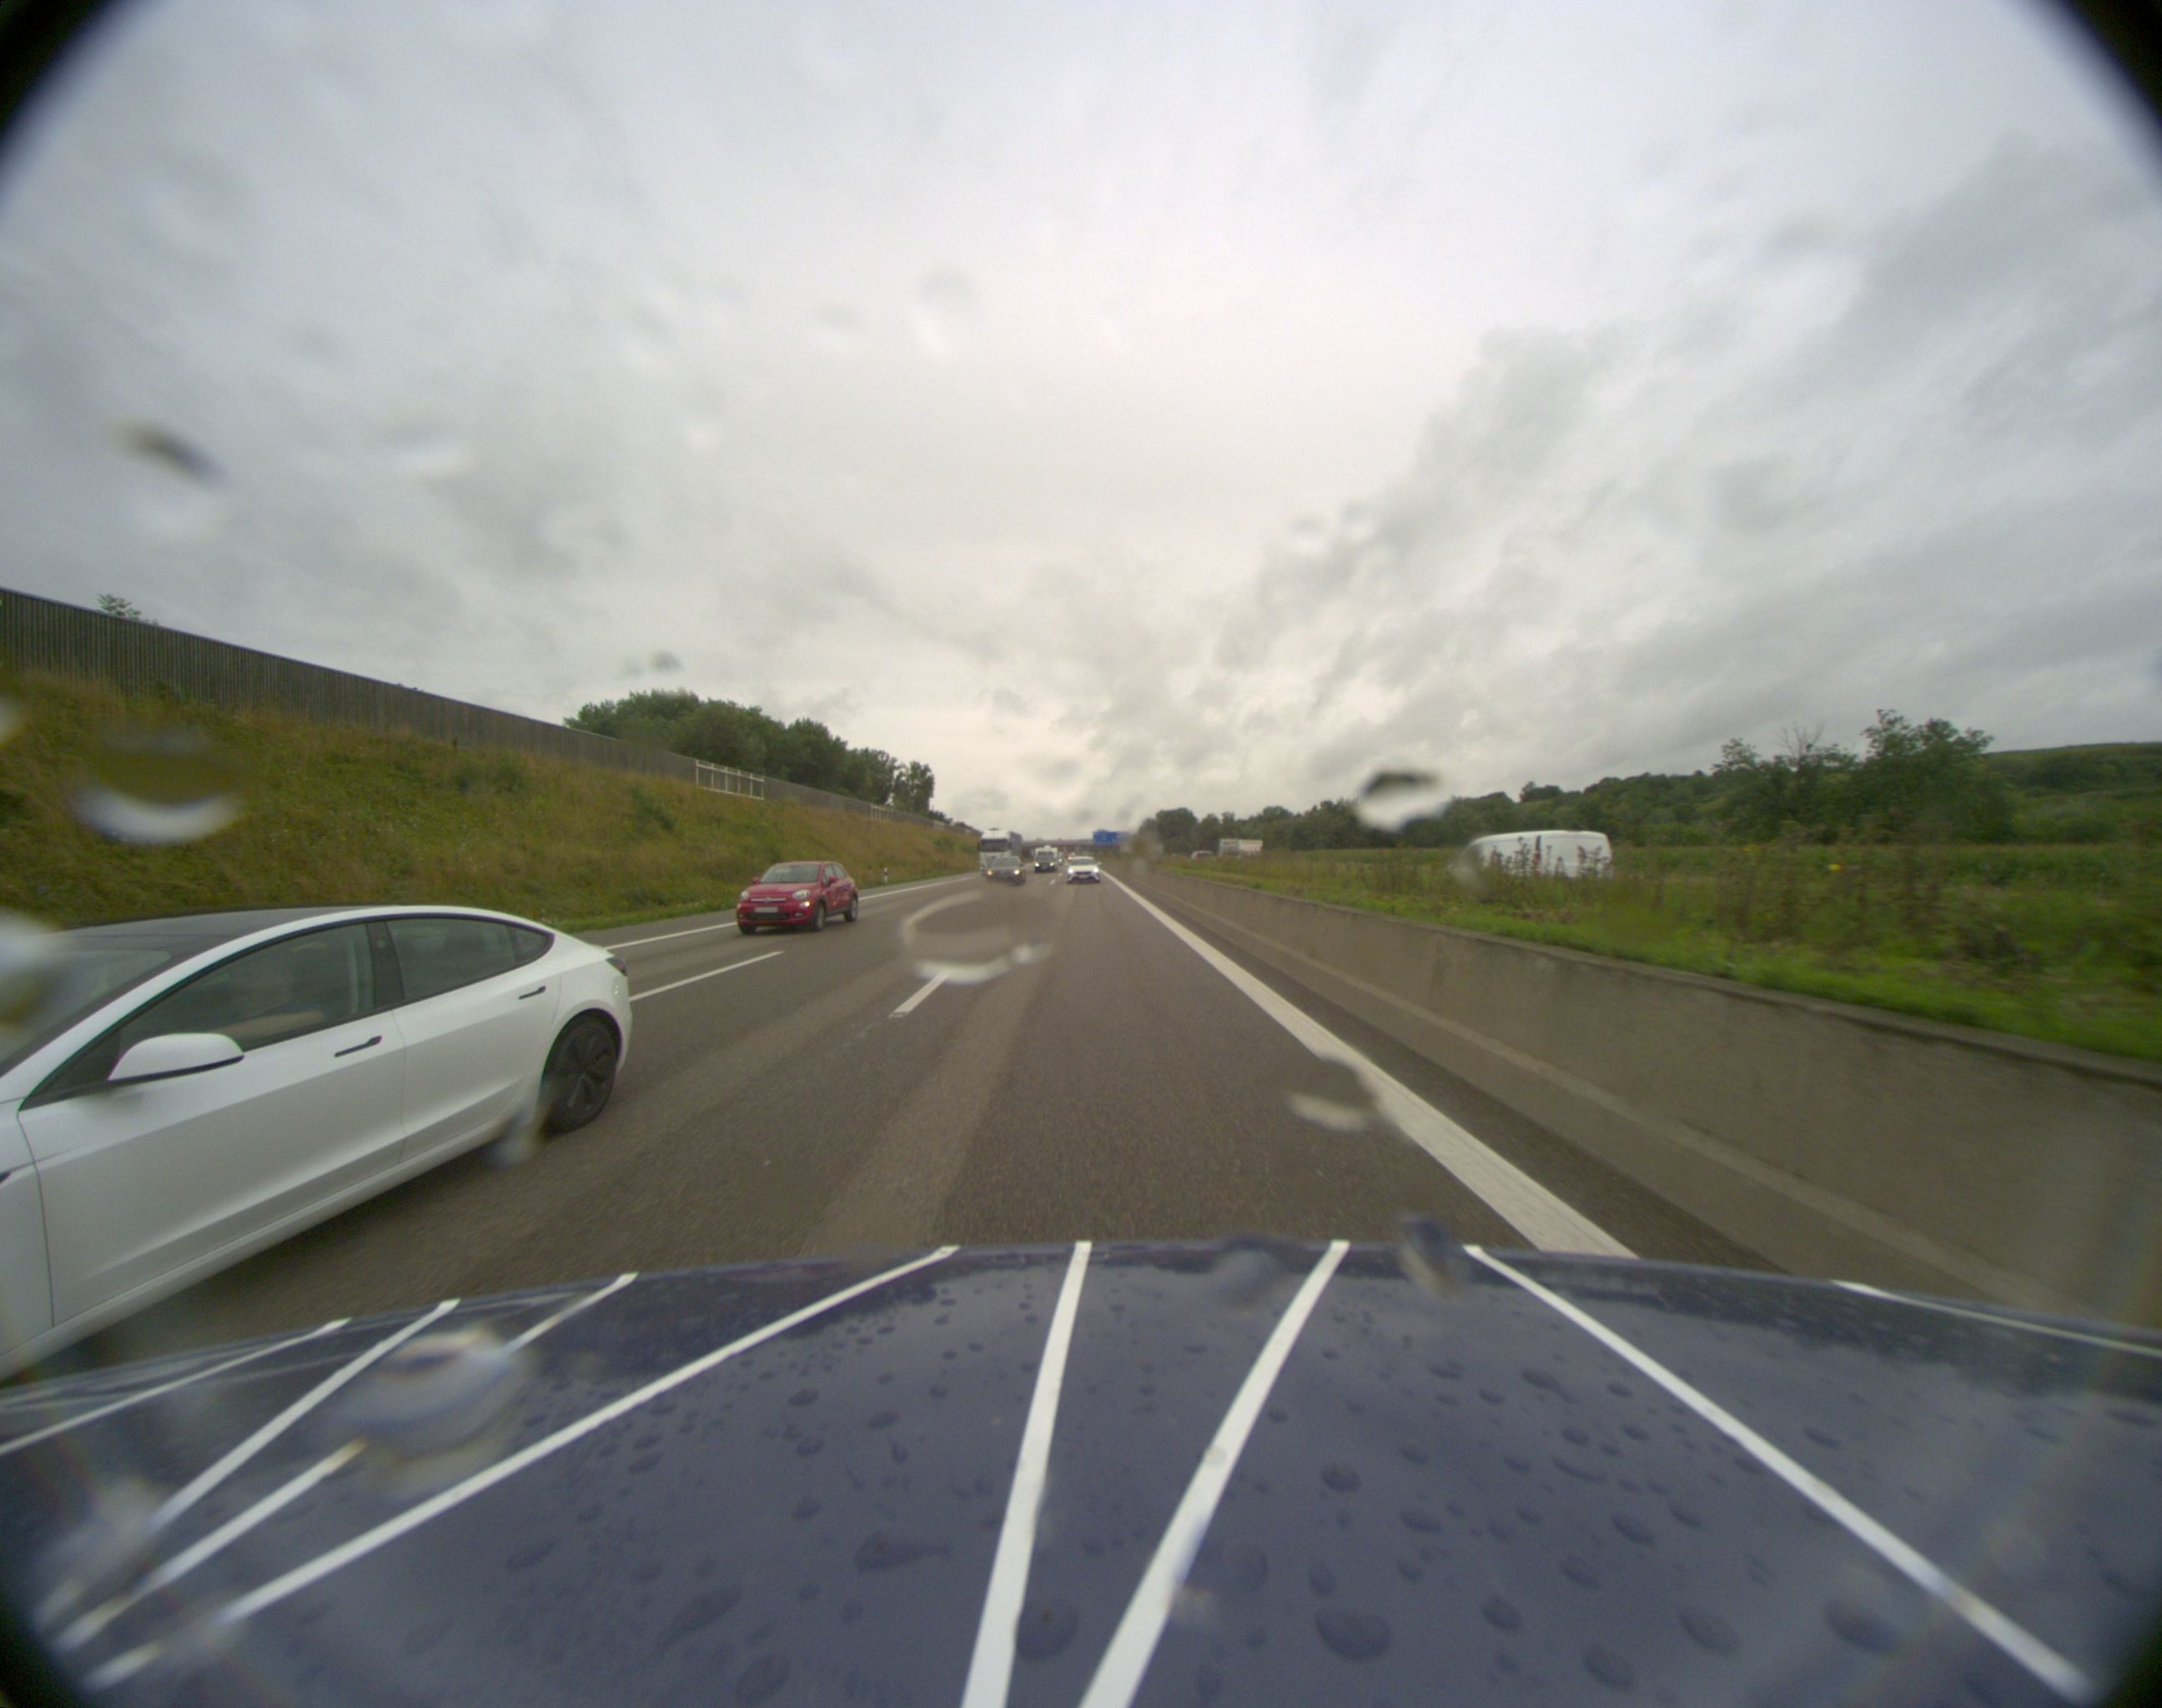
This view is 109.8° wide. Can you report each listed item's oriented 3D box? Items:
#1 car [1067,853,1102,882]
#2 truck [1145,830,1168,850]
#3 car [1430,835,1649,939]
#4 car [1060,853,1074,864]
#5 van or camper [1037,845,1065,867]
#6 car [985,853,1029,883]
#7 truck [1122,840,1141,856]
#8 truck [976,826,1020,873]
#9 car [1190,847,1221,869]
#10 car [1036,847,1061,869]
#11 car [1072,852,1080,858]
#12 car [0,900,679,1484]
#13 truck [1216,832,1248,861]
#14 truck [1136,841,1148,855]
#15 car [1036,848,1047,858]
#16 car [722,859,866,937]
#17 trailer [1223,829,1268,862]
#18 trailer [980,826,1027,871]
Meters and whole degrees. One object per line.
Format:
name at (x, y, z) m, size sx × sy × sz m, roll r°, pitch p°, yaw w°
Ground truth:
car at (0.211, 0.725, 43.196) m, size 1.840 × 1.455 × 4.000 m, roll -2°, pitch 1°, yaw 1°
truck at (17.386, -3.169, 176.107) m, size 3.333 × 4.317 × 16.897 m, roll -2°, pitch 1°, yaw 0°
car at (10.221, 0.639, 17.529) m, size 1.998 × 2.002 × 5.068 m, roll -2°, pitch 0°, yaw 1°
car at (-2.212, 0.706, 121.548) m, size 1.998 × 1.759 × 4.000 m, roll 0°, pitch 0°, yaw 1°
van or camper at (-3.112, 0.175, 79.963) m, size 2.432 × 2.139 × 6.498 m, roll -2°, pitch 1°, yaw 2°
car at (-4.100, 0.733, 42.756) m, size 1.929 × 1.480 × 4.485 m, roll -2°, pitch 1°, yaw 1°
truck at (13.076, -1.536, 198.691) m, size 3.609 × 3.858 × 16.108 m, roll -2°, pitch 1°, yaw 0°
truck at (-7.496, -0.455, 69.499) m, size 3.089 × 4.003 × 6.955 m, roll -2°, pitch 1°, yaw 0°
car at (10.093, 0.325, 61.975) m, size 1.887 × 1.674 × 4.000 m, roll -2°, pitch 0°, yaw 1°
car at (-3.168, 0.366, 74.982) m, size 1.998 × 2.002 × 4.938 m, roll -2°, pitch 1°, yaw 2°
car at (-1.441, 0.245, 205.243) m, size 1.999 × 1.696 × 4.483 m, roll -2°, pitch 0°, yaw -2°
car at (-3.911, 1.070, 3.093) m, size 1.878 × 1.355 × 4.812 m, roll -2°, pitch 1°, yaw 1°
truck at (17.965, -0.906, 90.456) m, size 2.763 × 3.324 × 4.520 m, roll -2°, pitch 1°, yaw 0°
truck at (17.299, -1.743, 216.315) m, size 2.455 × 3.951 × 8.767 m, roll -1°, pitch 0°, yaw -2°
car at (-8.277, -0.172, 158.628) m, size 1.998 × 2.002 × 4.262 m, roll -1°, pitch 0°, yaw 0°
car at (-6.687, 0.943, 18.210) m, size 1.878 × 1.526 × 3.999 m, roll -2°, pitch 1°, yaw 0°
trailer at (18.036, -0.905, 83.990) m, size 2.794 × 3.309 × 9.925 m, roll -2°, pitch 1°, yaw 0°
trailer at (-7.534, -0.583, 76.388) m, size 3.089 × 4.003 × 15.219 m, roll -2°, pitch 1°, yaw 0°
